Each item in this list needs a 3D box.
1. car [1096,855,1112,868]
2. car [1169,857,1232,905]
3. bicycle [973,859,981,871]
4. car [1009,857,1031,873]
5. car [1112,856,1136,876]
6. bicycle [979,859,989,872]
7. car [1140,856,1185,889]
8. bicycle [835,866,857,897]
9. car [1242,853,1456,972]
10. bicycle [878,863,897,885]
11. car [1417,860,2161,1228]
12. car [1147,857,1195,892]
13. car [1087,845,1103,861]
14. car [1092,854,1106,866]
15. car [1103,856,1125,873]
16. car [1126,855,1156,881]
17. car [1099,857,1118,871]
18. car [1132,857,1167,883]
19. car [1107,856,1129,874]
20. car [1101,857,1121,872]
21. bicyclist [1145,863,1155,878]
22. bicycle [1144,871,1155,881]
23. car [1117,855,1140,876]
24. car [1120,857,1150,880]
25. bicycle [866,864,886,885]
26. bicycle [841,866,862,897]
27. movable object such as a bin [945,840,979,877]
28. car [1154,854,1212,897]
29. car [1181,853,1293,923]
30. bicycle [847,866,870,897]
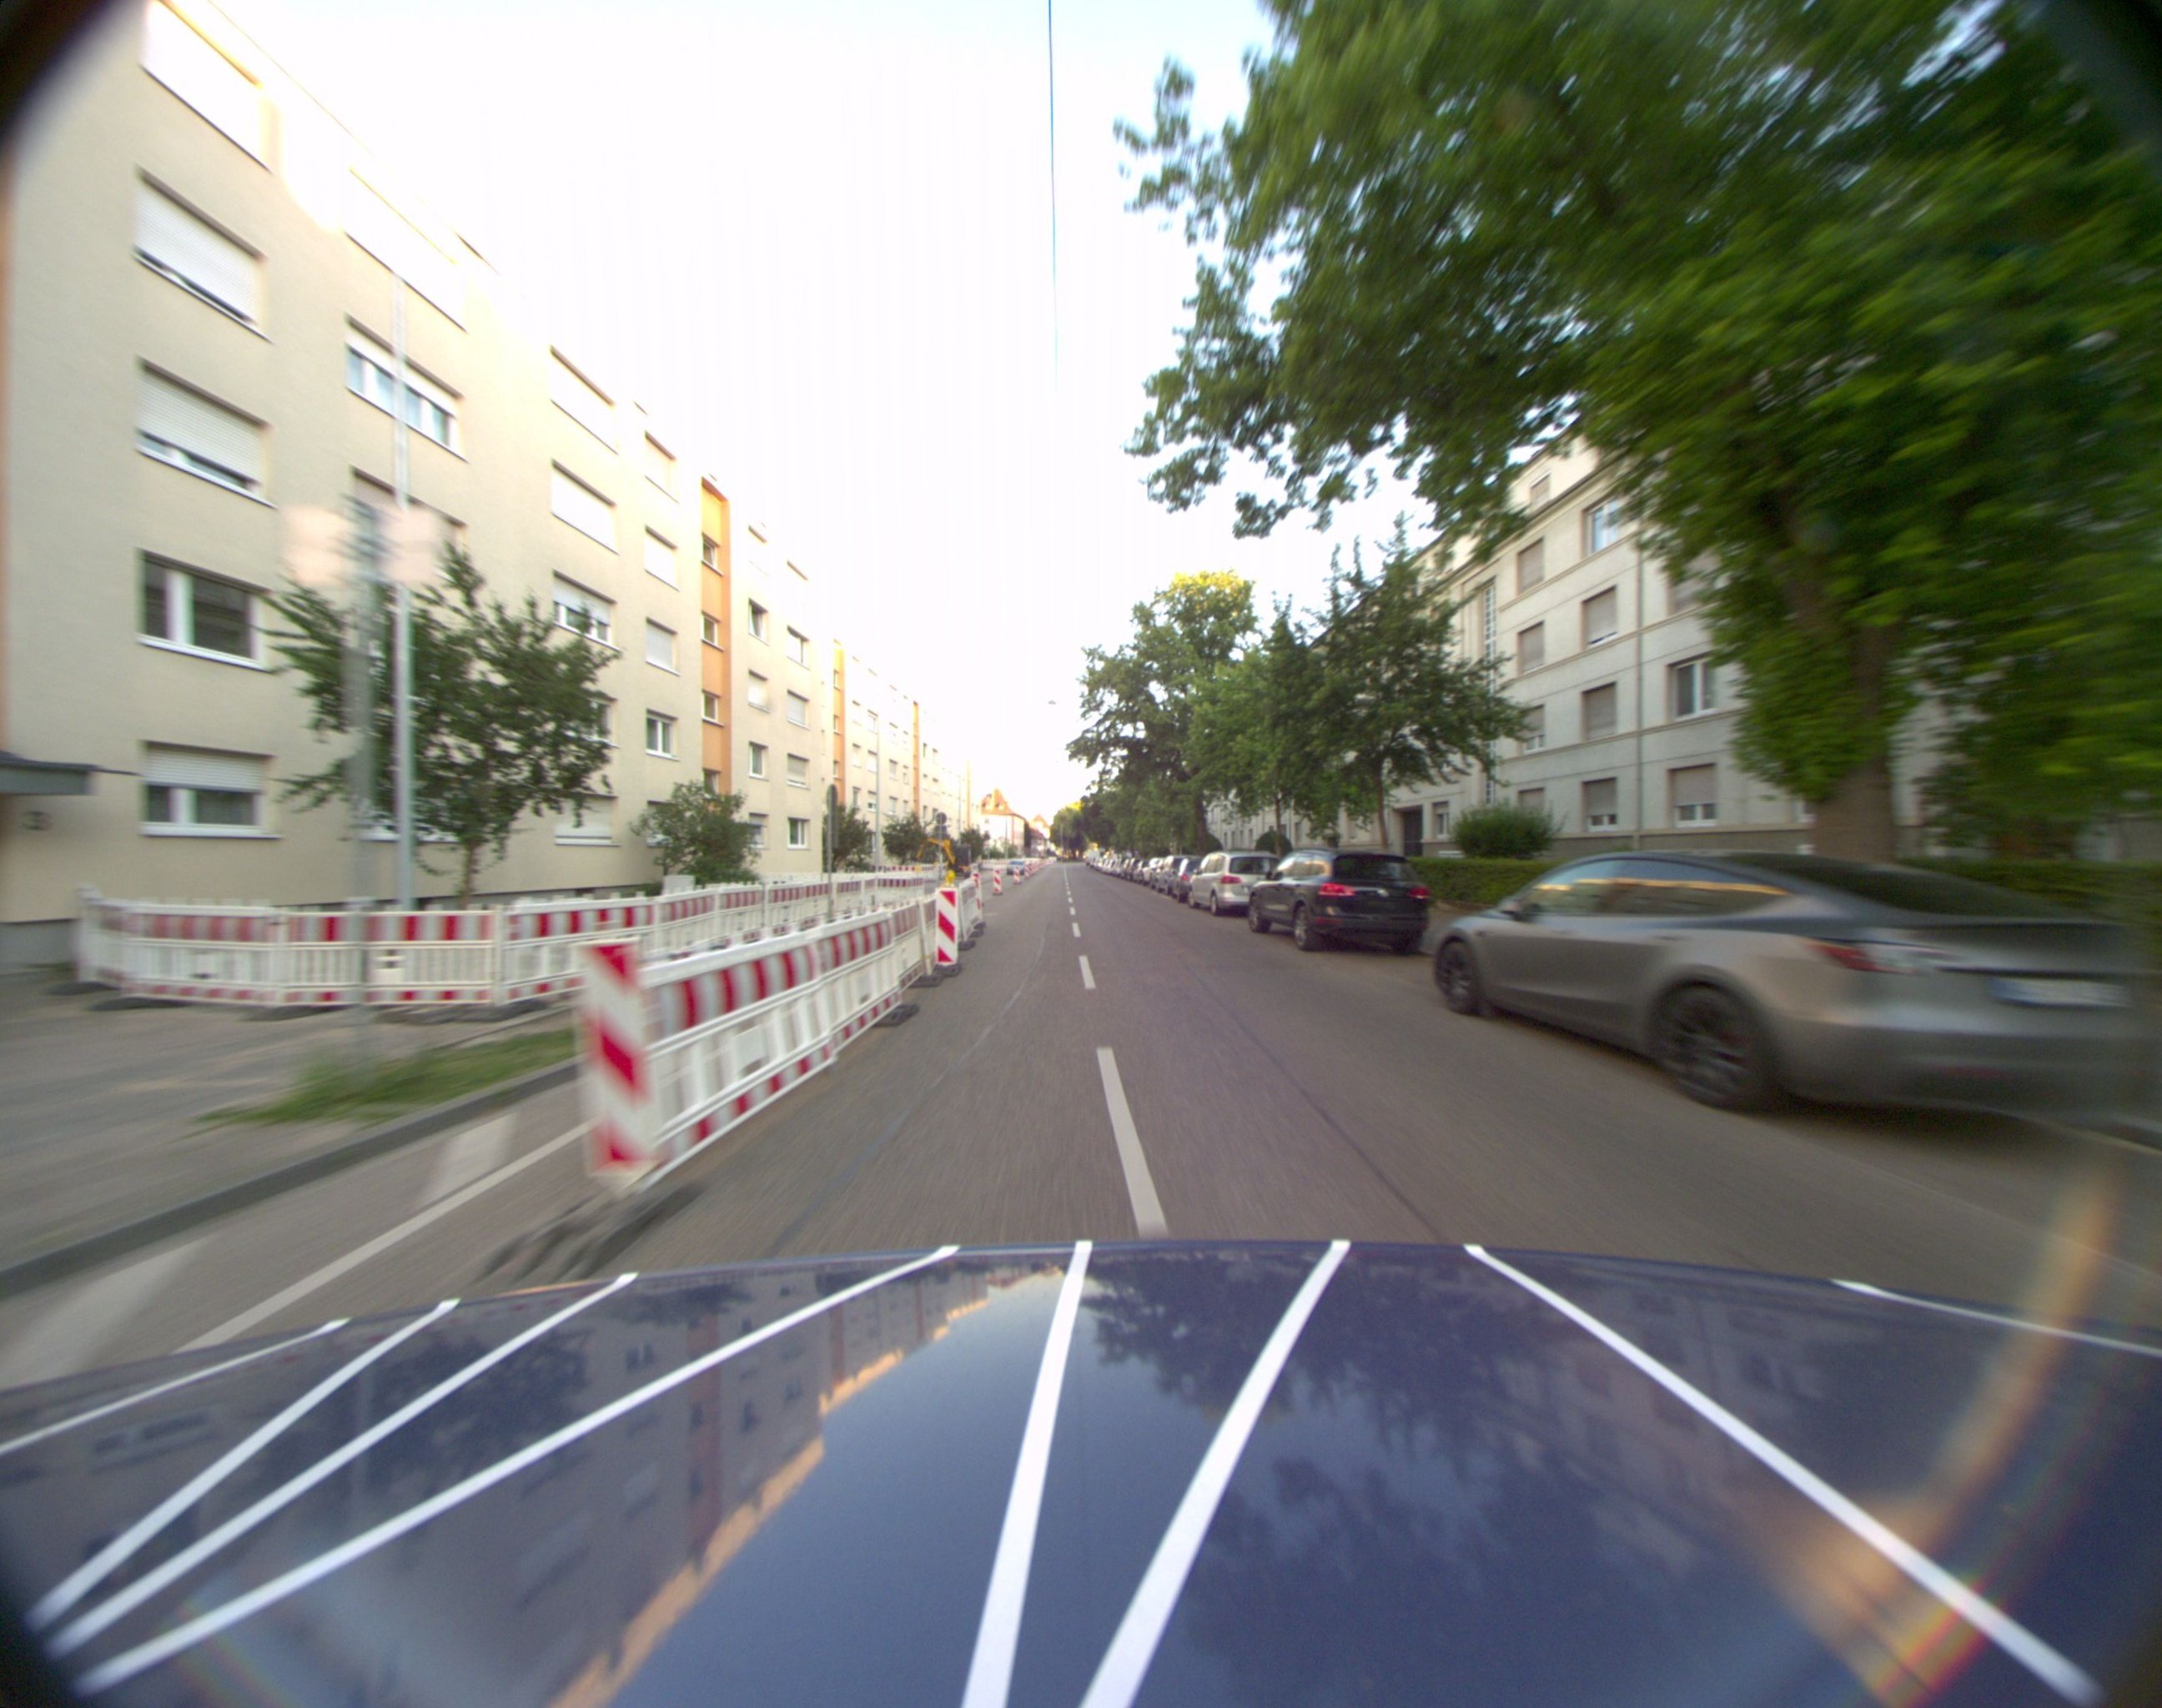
[{"bbox_3d":[2.815,0.895,94.378,1.757,1.471,3.944,3,0,0],"label":"car"},{"bbox_3d":[4.100,0.885,26.654,1.736,1.488,4.271,1,0,3],"label":"car"},{"bbox_3d":[-10.372,1.095,75.843,0.557,1.165,1.817,-1,0,1],"label":"bicycle"},{"bbox_3d":[-6.137,1.093,76.708,1.781,1.482,4.573,3,0,0],"label":"car"},{"bbox_3d":[3.563,0.955,63.021,1.594,1.496,3.798,3,0,-2],"label":"car"},{"bbox_3d":[-9.255,1.090,72.293,0.558,1.165,1.813,-1,0,-21],"label":"bicycle"},{"bbox_3d":[4.277,0.949,40.442,1.594,1.530,4.205,3,0,-4],"label":"car"},{"bbox_3d":[-9.685,1.130,31.329,0.399,1.215,1.825,-1,0,-3],"label":"bicycle"},{"bbox_3d":[4.462,0.861,13.578,1.959,1.709,4.770,1,0,-2],"label":"car"},{"bbox_3d":[-10.958,1.127,43.026,0.557,1.165,1.817,-1,0,1],"label":"bicycle"},{"bbox_3d":[4.619,0.898,5.760,1.959,1.607,4.604,1,0,-2],"label":"car"},{"bbox_3d":[4.215,0.931,36.045,1.711,1.443,3.842,3,0,-1],"label":"car"},{"bbox_3d":[2.223,-0.186,122.991,2.185,2.447,6.102,3,0,-1],"label":"car"},{"bbox_3d":[2.482,0.840,104.384,1.757,1.463,4.223,3,0,0],"label":"car"},{"bbox_3d":[3.172,1.007,74.164,1.697,1.451,4.143,3,0,-3],"label":"car"},{"bbox_3d":[3.924,0.898,49.931,1.527,1.520,3.163,3,0,-3],"label":"car"},{"bbox_3d":[3.063,1.063,83.898,1.679,1.451,3.704,3,0,-4],"label":"car"},{"bbox_3d":[4.112,0.947,45.848,1.594,1.396,4.180,3,0,-1],"label":"car"},{"bbox_3d":[3.358,0.967,69.597,1.697,1.451,4.482,3,0,-2],"label":"car"},{"bbox_3d":[3.104,1.071,79.202,1.679,1.324,4.578,3,0,-2],"label":"car"},{"bbox_3d":[6.590,1.558,72.360,0.810,1.396,0.973,-1,1,-2],"label":"bicyclist"},{"bbox_3d":[6.555,2.107,72.386,0.810,0.906,1.761,-1,0,-2],"label":"bicycle"},{"bbox_3d":[3.655,0.847,58.843,1.594,1.520,2.921,3,0,1],"label":"car"},{"bbox_3d":[3.802,0.994,54.127,1.594,1.458,4.100,3,0,-3],"label":"car"},{"bbox_3d":[-11.695,1.148,43.409,0.557,1.165,1.817,-1,0,1],"label":"bicycle"},{"bbox_3d":[-9.432,1.123,31.267,0.399,1.215,1.910,-1,0,-3],"label":"bicycle"},{"bbox_3d":[-9.061,0.333,58.108,1.938,2.677,2.892,0,0,3],"label":"movable object such as a bin"},{"bbox_3d":[4.166,0.831,31.625,1.712,1.591,4.116,3,0,-1],"label":"car"},{"bbox_3d":[4.185,0.852,21.228,1.852,1.681,4.857,1,0,-3],"label":"car"},{"bbox_3d":[-9.159,1.114,31.364,0.453,1.215,1.910,-1,0,-3],"label":"bicycle"}]
